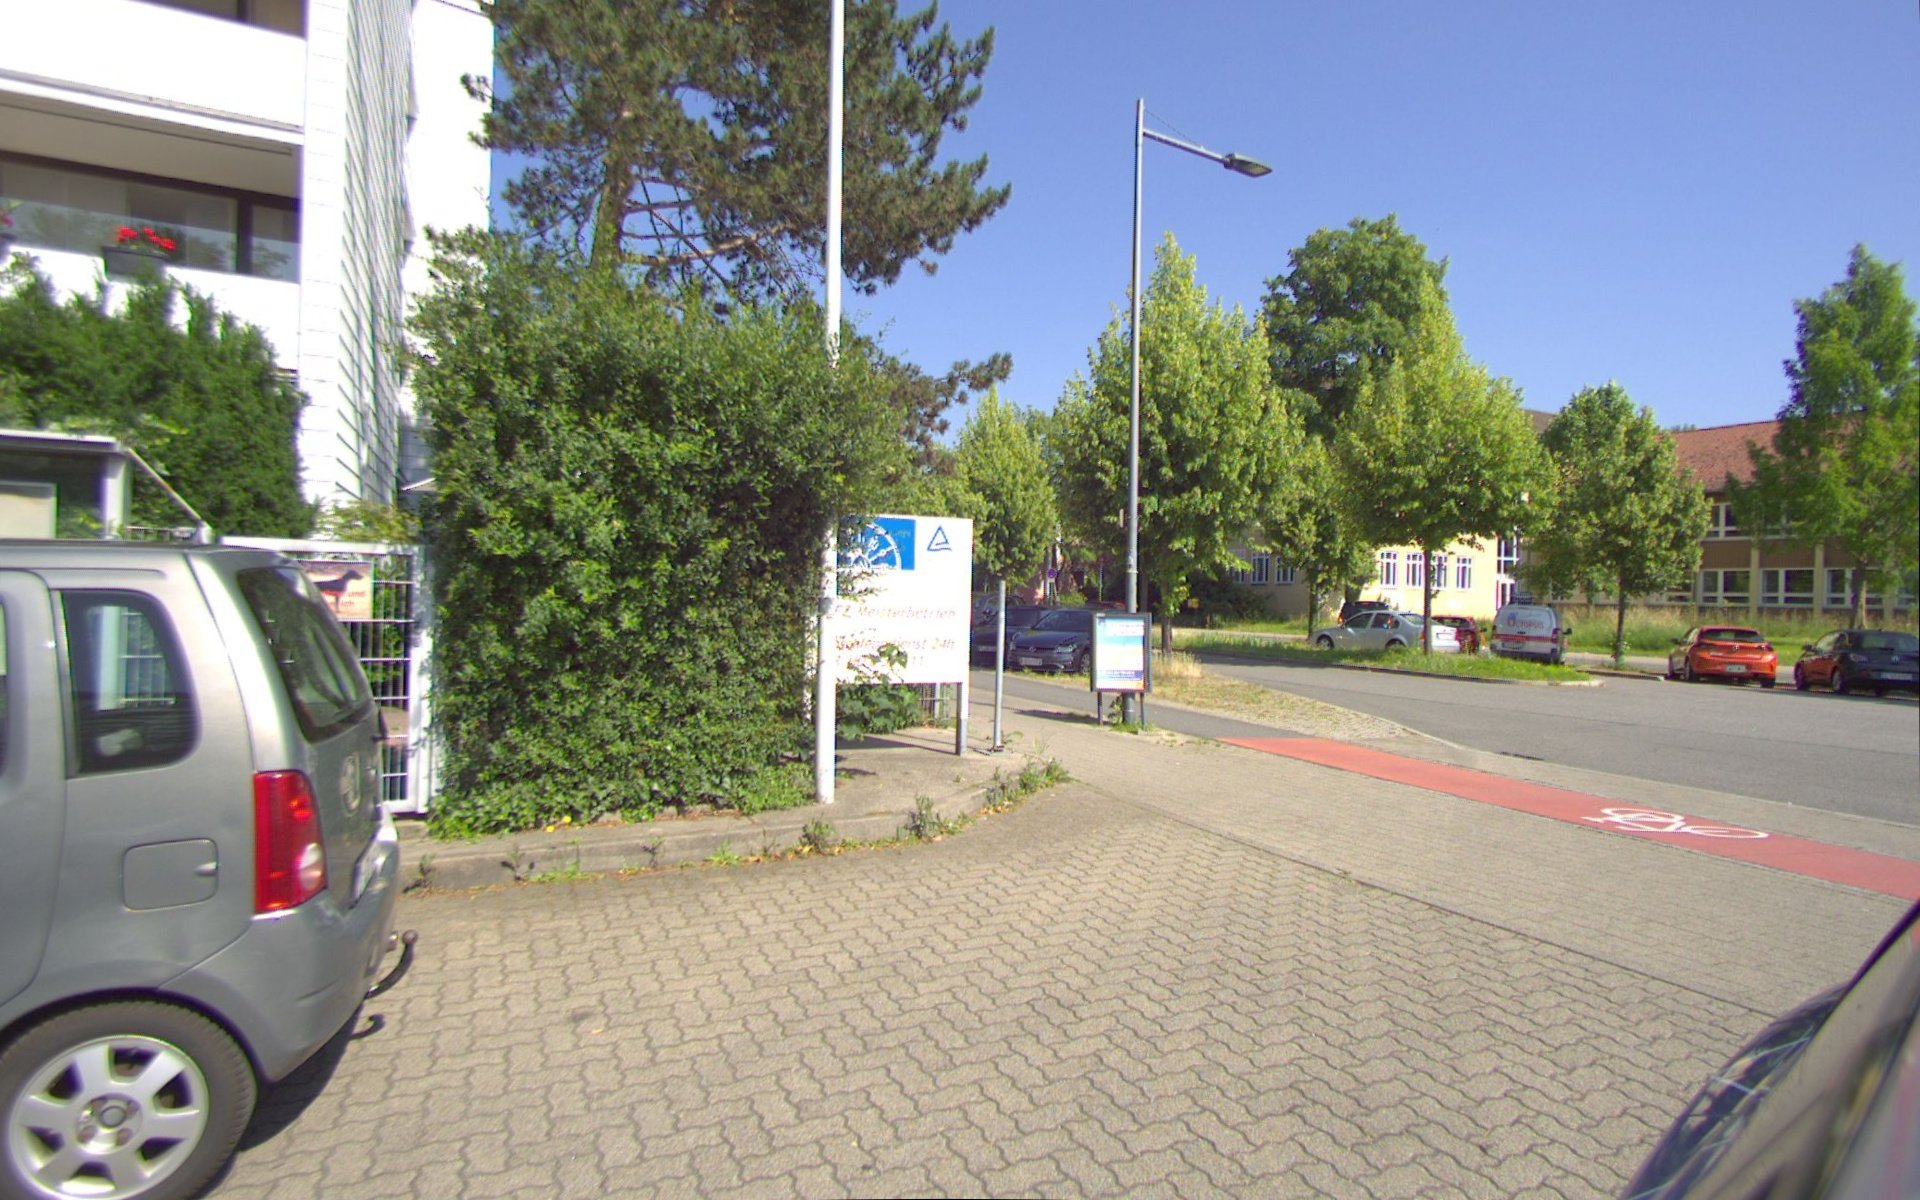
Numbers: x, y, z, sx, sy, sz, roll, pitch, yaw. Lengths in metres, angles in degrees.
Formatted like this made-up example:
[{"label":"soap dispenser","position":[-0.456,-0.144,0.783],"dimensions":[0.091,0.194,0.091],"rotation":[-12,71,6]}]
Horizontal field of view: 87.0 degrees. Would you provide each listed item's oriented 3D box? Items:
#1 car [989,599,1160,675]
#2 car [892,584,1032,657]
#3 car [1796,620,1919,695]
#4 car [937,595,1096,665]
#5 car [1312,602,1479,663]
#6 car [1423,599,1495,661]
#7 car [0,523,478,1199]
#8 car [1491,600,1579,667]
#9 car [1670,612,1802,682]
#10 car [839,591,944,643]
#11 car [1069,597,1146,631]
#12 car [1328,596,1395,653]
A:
[{"label":"car","position":[2.611,0.810,22.273],"dimensions":[1.871,1.435,4.168],"rotation":[2,-1,37]},{"label":"car","position":[0.157,0.553,27.043],"dimensions":[1.692,1.742,4.353],"rotation":[2,0,31]},{"label":"car","position":[20.463,1.256,22.717],"dimensions":[1.726,1.478,4.184],"rotation":[2,-1,28]},{"label":"car","position":[1.468,0.733,24.803],"dimensions":[1.871,1.500,4.168],"rotation":[2,-1,37]},{"label":"car","position":[12.152,0.870,28.531],"dimensions":[1.704,1.502,4.166],"rotation":[2,0,-27]},{"label":"car","position":[15.753,0.948,32.117],"dimensions":[1.862,1.744,4.189],"rotation":[3,0,25]},{"label":"car","position":[-3.290,0.640,2.673],"dimensions":[3.586,1.637,1.695],"rotation":[0,1,-24]},{"label":"car","position":[16.970,0.974,29.766],"dimensions":[1.869,1.744,4.172],"rotation":[3,0,34]},{"label":"car","position":[19.205,1.133,25.242],"dimensions":[1.864,1.478,4.184],"rotation":[3,0,28]},{"label":"car","position":[-2.097,0.515,32.213],"dimensions":[1.685,1.500,4.195],"rotation":[1,0,21]},{"label":"car","position":[7.206,0.685,49.287],"dimensions":[3.665,1.408,1.877],"rotation":[4,-1,-45]},{"label":"car","position":[13.802,0.844,34.664],"dimensions":[1.862,1.744,4.189],"rotation":[3,0,25]}]
